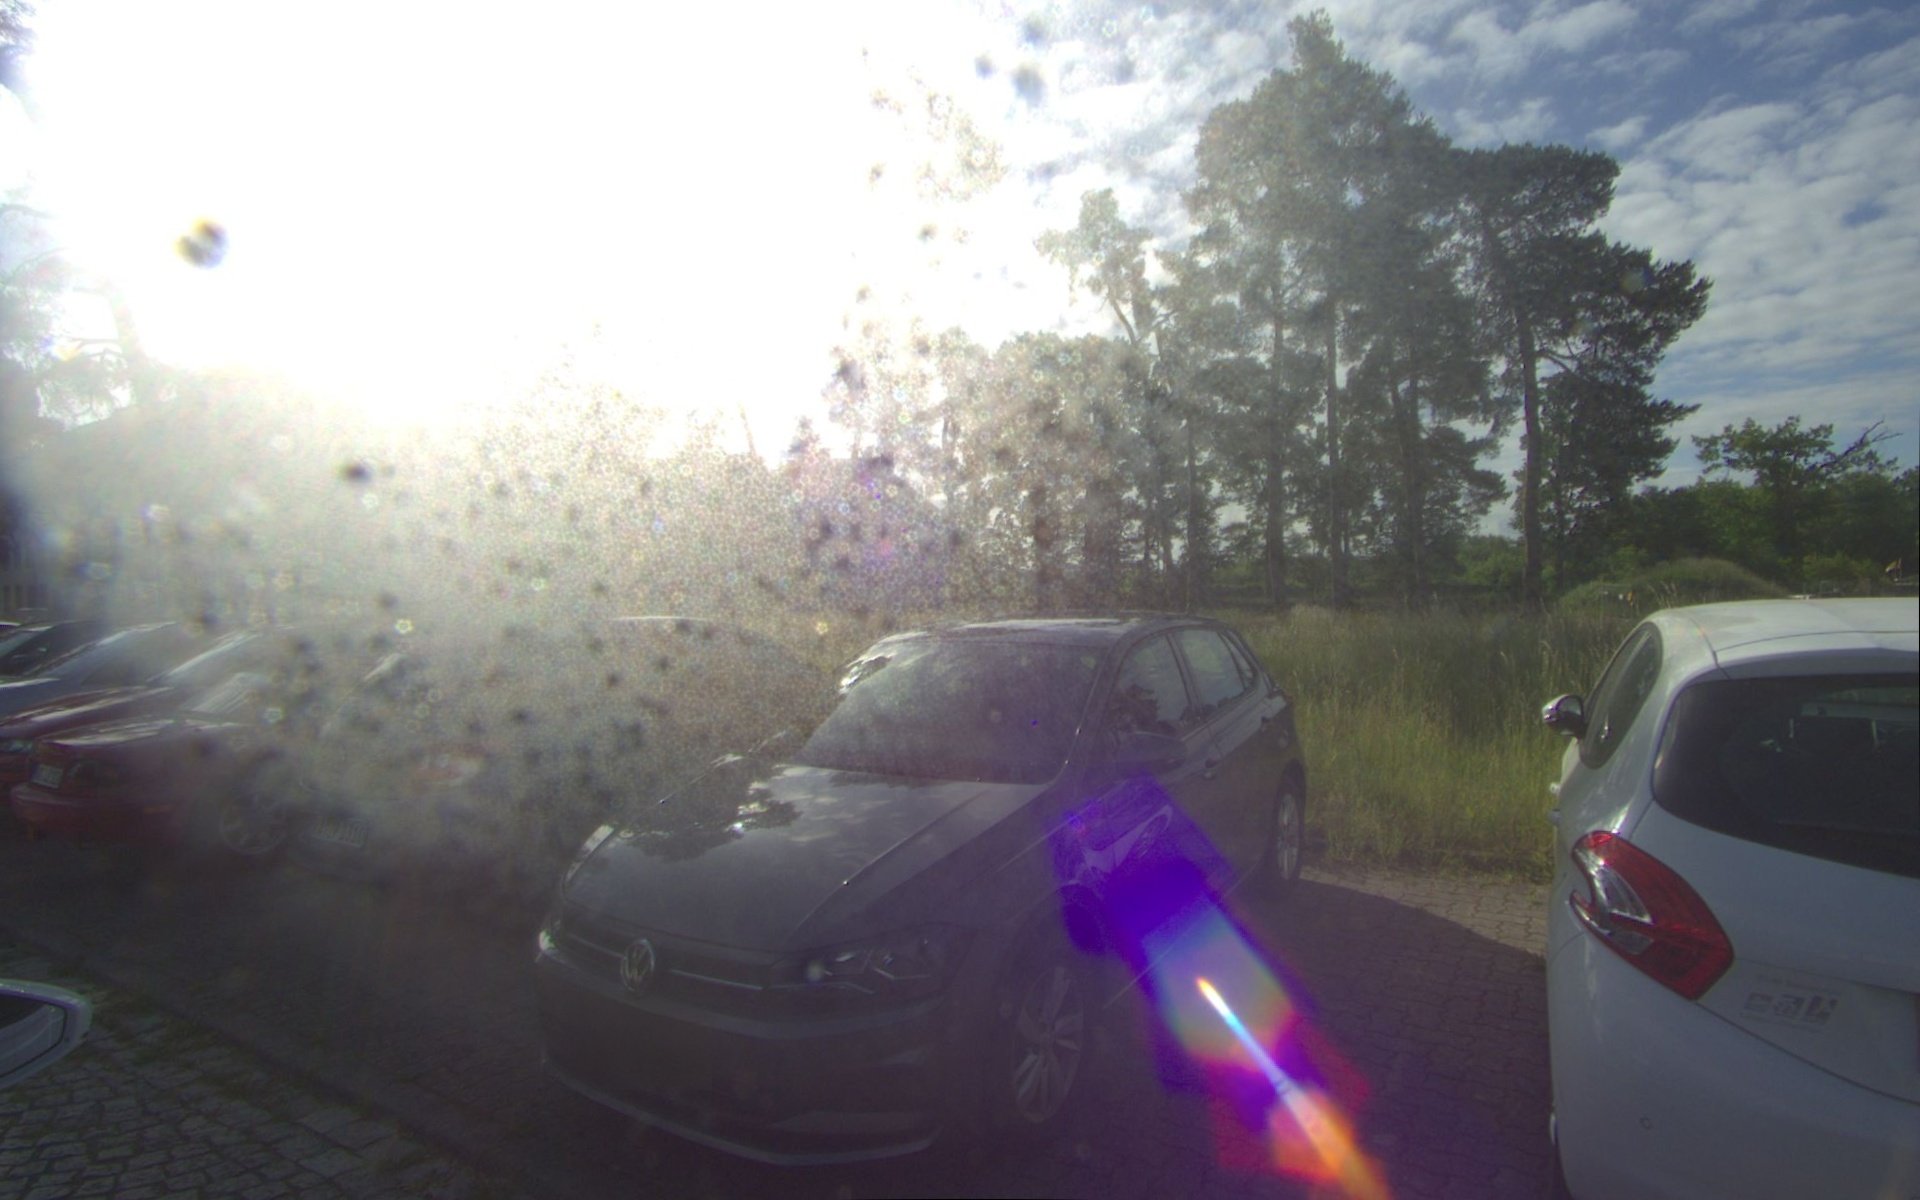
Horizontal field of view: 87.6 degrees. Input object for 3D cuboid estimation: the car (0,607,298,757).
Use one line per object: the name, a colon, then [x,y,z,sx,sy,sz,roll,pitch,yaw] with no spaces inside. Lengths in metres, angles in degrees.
car: [-10.251,0.885,11.127,1.613,1.434,4.548,0,2,32]

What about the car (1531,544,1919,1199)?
car: [2.962,0.616,3.270,1.736,1.555,3.697,0,2,33]

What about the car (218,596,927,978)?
car: [-1.979,0.763,6.137,1.790,1.469,3.698,0,2,32]

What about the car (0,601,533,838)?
car: [-6.095,0.806,8.782,1.613,1.469,4.117,0,2,32]

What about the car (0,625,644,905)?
car: [-4.339,0.904,7.197,1.721,1.240,3.697,0,2,33]

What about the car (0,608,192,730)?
car: [-12.456,0.887,12.767,1.613,1.434,3.872,0,2,32]

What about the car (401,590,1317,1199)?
car: [0.084,0.742,4.103,1.830,1.469,3.697,0,2,33]

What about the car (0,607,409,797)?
car: [-8.016,0.865,9.651,1.755,1.434,4.420,0,2,32]
